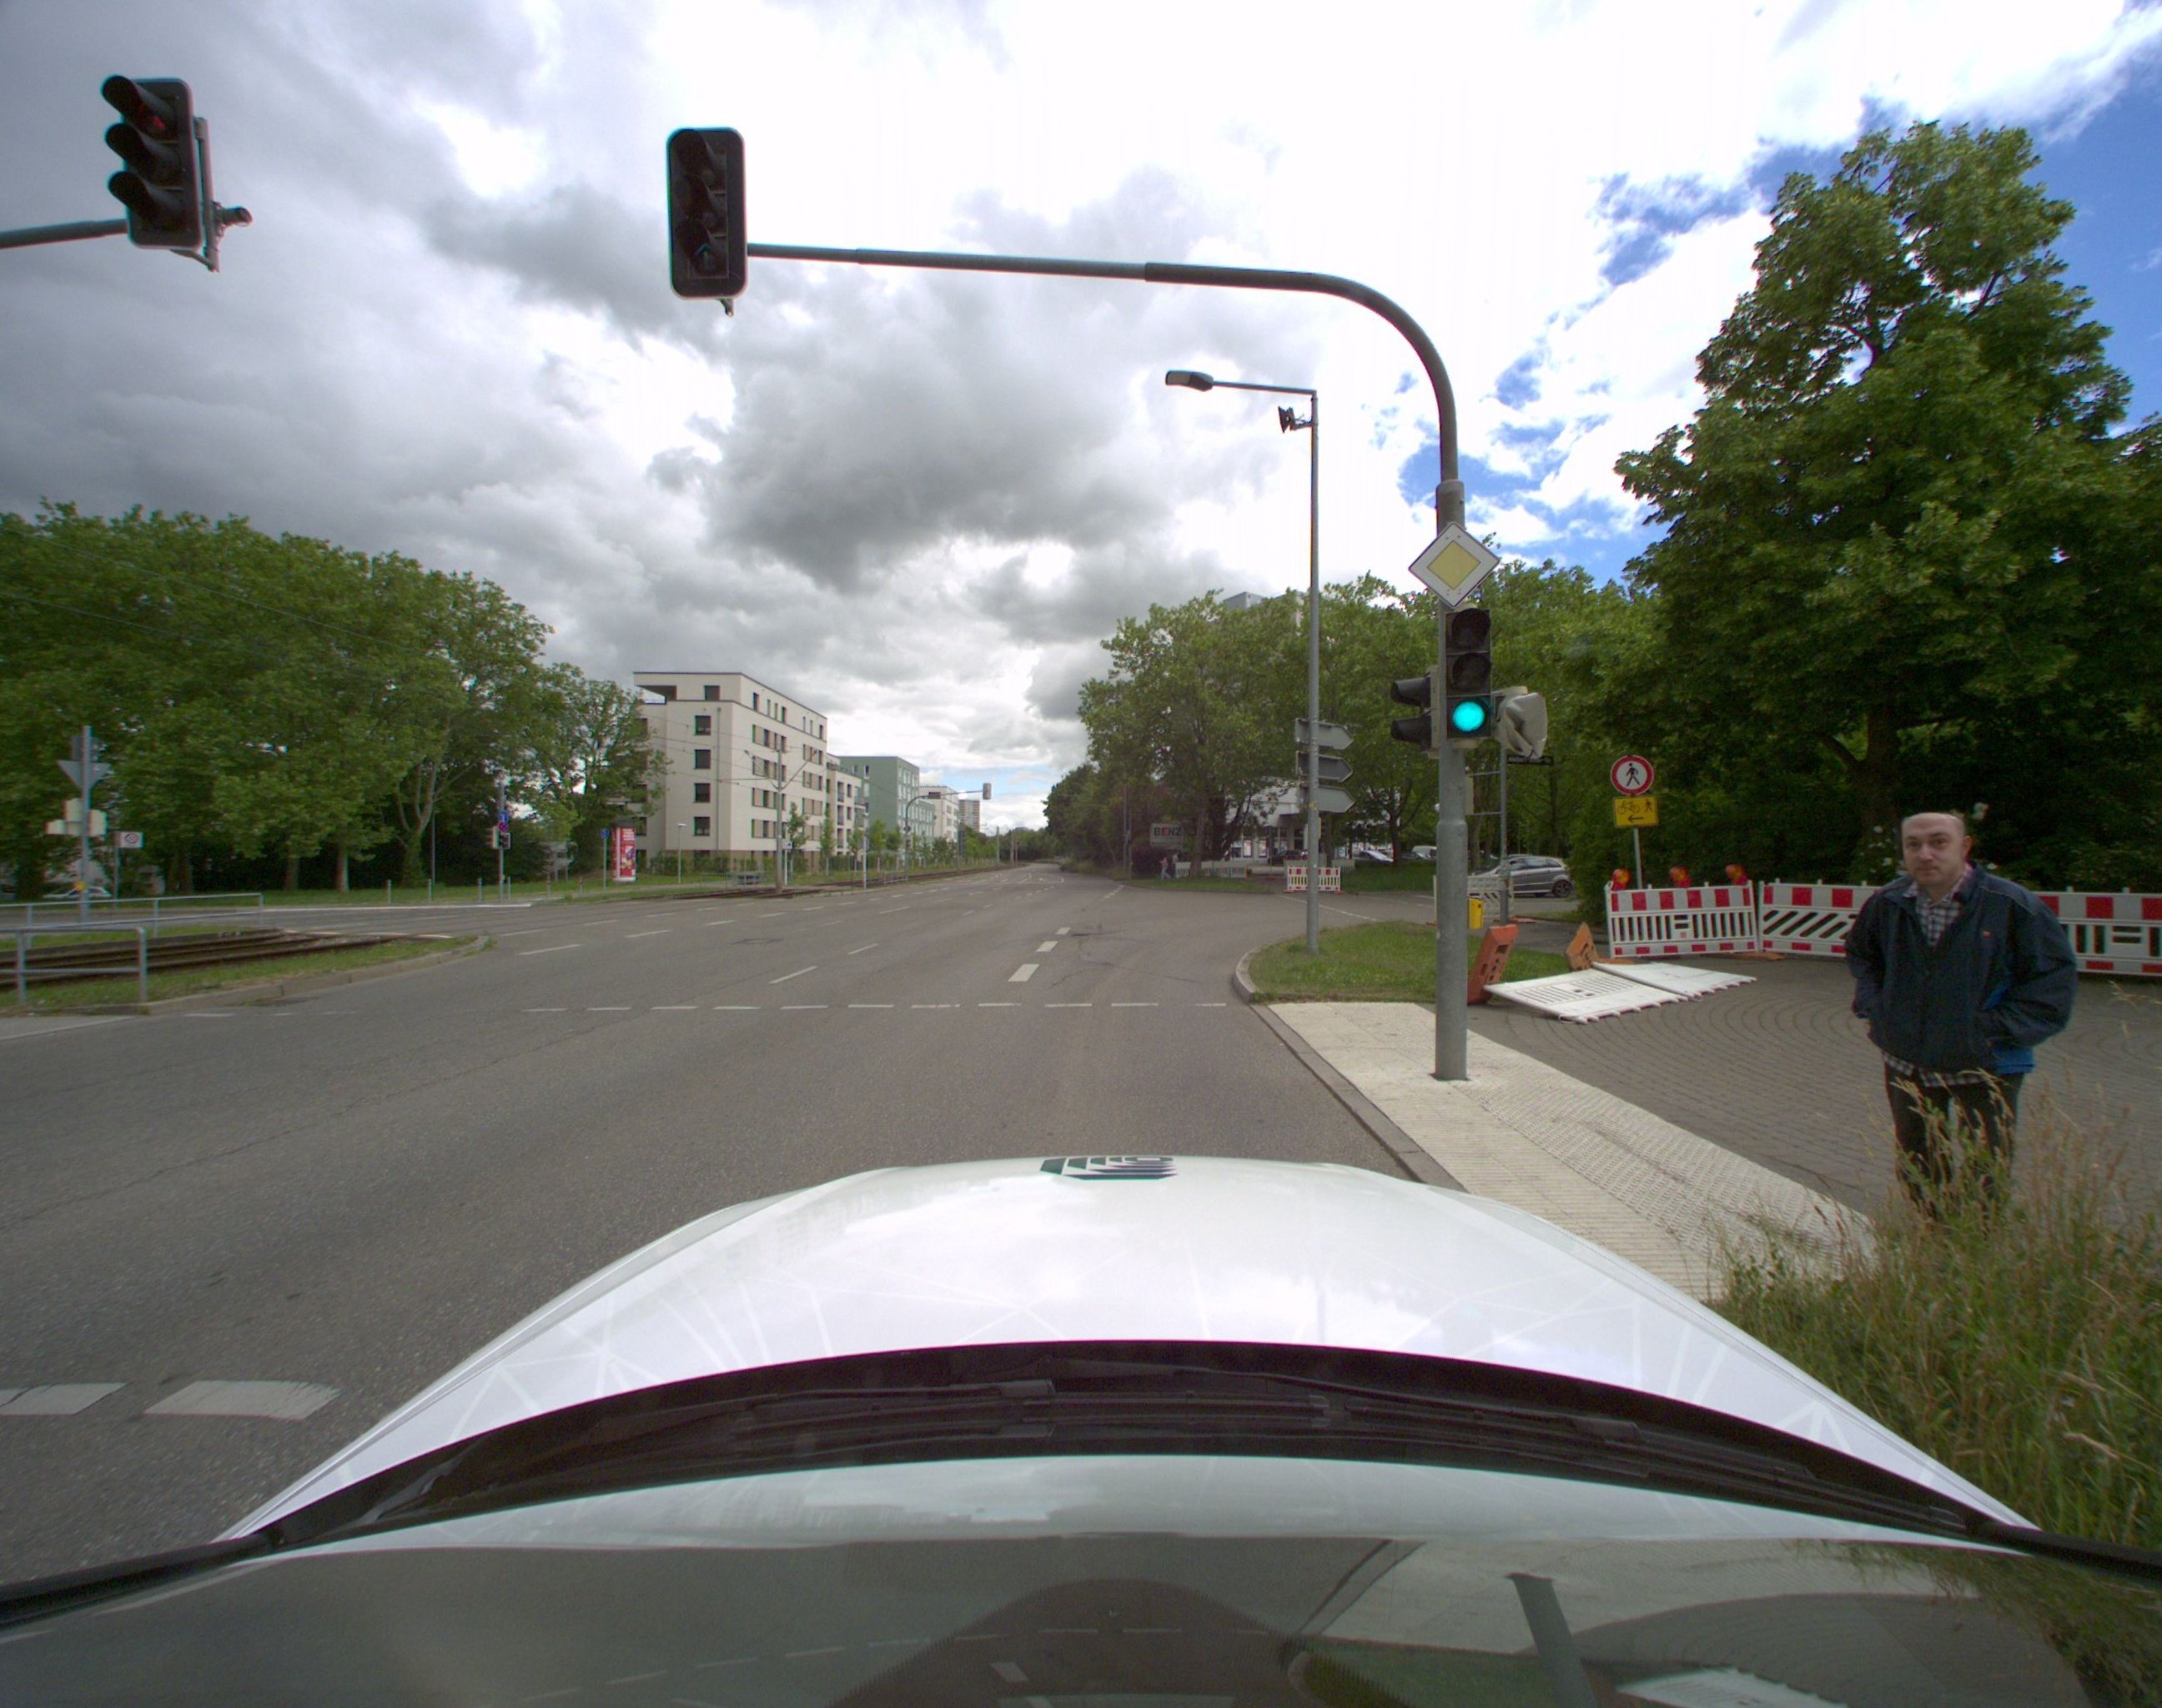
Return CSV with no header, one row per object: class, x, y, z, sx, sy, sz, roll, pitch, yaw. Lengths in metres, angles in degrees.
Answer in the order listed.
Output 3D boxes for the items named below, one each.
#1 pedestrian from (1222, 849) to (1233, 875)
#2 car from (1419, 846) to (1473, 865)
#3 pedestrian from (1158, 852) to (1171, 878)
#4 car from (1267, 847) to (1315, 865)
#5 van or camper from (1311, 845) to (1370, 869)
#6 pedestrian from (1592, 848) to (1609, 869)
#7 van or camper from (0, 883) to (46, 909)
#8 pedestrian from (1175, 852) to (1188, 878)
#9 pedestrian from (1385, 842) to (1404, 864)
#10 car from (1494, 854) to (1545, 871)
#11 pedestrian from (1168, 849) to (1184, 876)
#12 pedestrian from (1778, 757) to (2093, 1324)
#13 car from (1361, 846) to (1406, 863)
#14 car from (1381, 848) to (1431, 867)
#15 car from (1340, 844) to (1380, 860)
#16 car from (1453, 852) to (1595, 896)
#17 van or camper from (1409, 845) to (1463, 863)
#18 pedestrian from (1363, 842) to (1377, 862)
pedestrian,8.949,0.488,49.621,0.649,1.539,0.775,0,-1,10
car,29.391,0.107,65.728,1.488,1.465,3.856,0,-1,-28
pedestrian,4.931,0.639,47.883,0.695,1.489,0.688,0,-1,0
car,17.921,0.204,69.745,1.736,1.500,4.234,0,-1,-24
van or camper,18.803,0.233,59.188,1.849,1.684,3.967,-1,0,-25
pedestrian,48.752,0.445,76.396,1.088,1.950,0.976,2,0,-33
van or camper,-67.654,2.654,49.928,1.851,1.533,5.010,-1,0,3
pedestrian,5.909,0.648,47.954,0.694,1.489,0.721,0,-1,4
pedestrian,26.585,-0.051,69.016,1.075,1.871,1.053,0,-1,-19
car,38.522,0.746,71.603,1.736,1.500,3.715,0,-1,-24
pedestrian,5.731,0.523,49.171,0.846,1.586,0.795,0,-1,-4
pedestrian,3.185,0.571,3.097,0.961,1.740,0.719,0,-1,-45
car,28.476,0.025,76.794,1.677,1.634,3.787,0,0,-28
car,24.662,0.282,61.941,1.488,1.404,3.378,0,-1,-27
car,25.755,-0.124,75.221,1.489,1.404,3.377,0,-1,-28
car,16.656,0.746,30.774,4.379,1.586,1.774,0,-1,3
van or camper,27.745,0.031,63.769,1.523,1.356,3.738,0,-1,-30
pedestrian,22.285,-0.155,62.812,0.792,1.586,0.797,0,-1,-6
